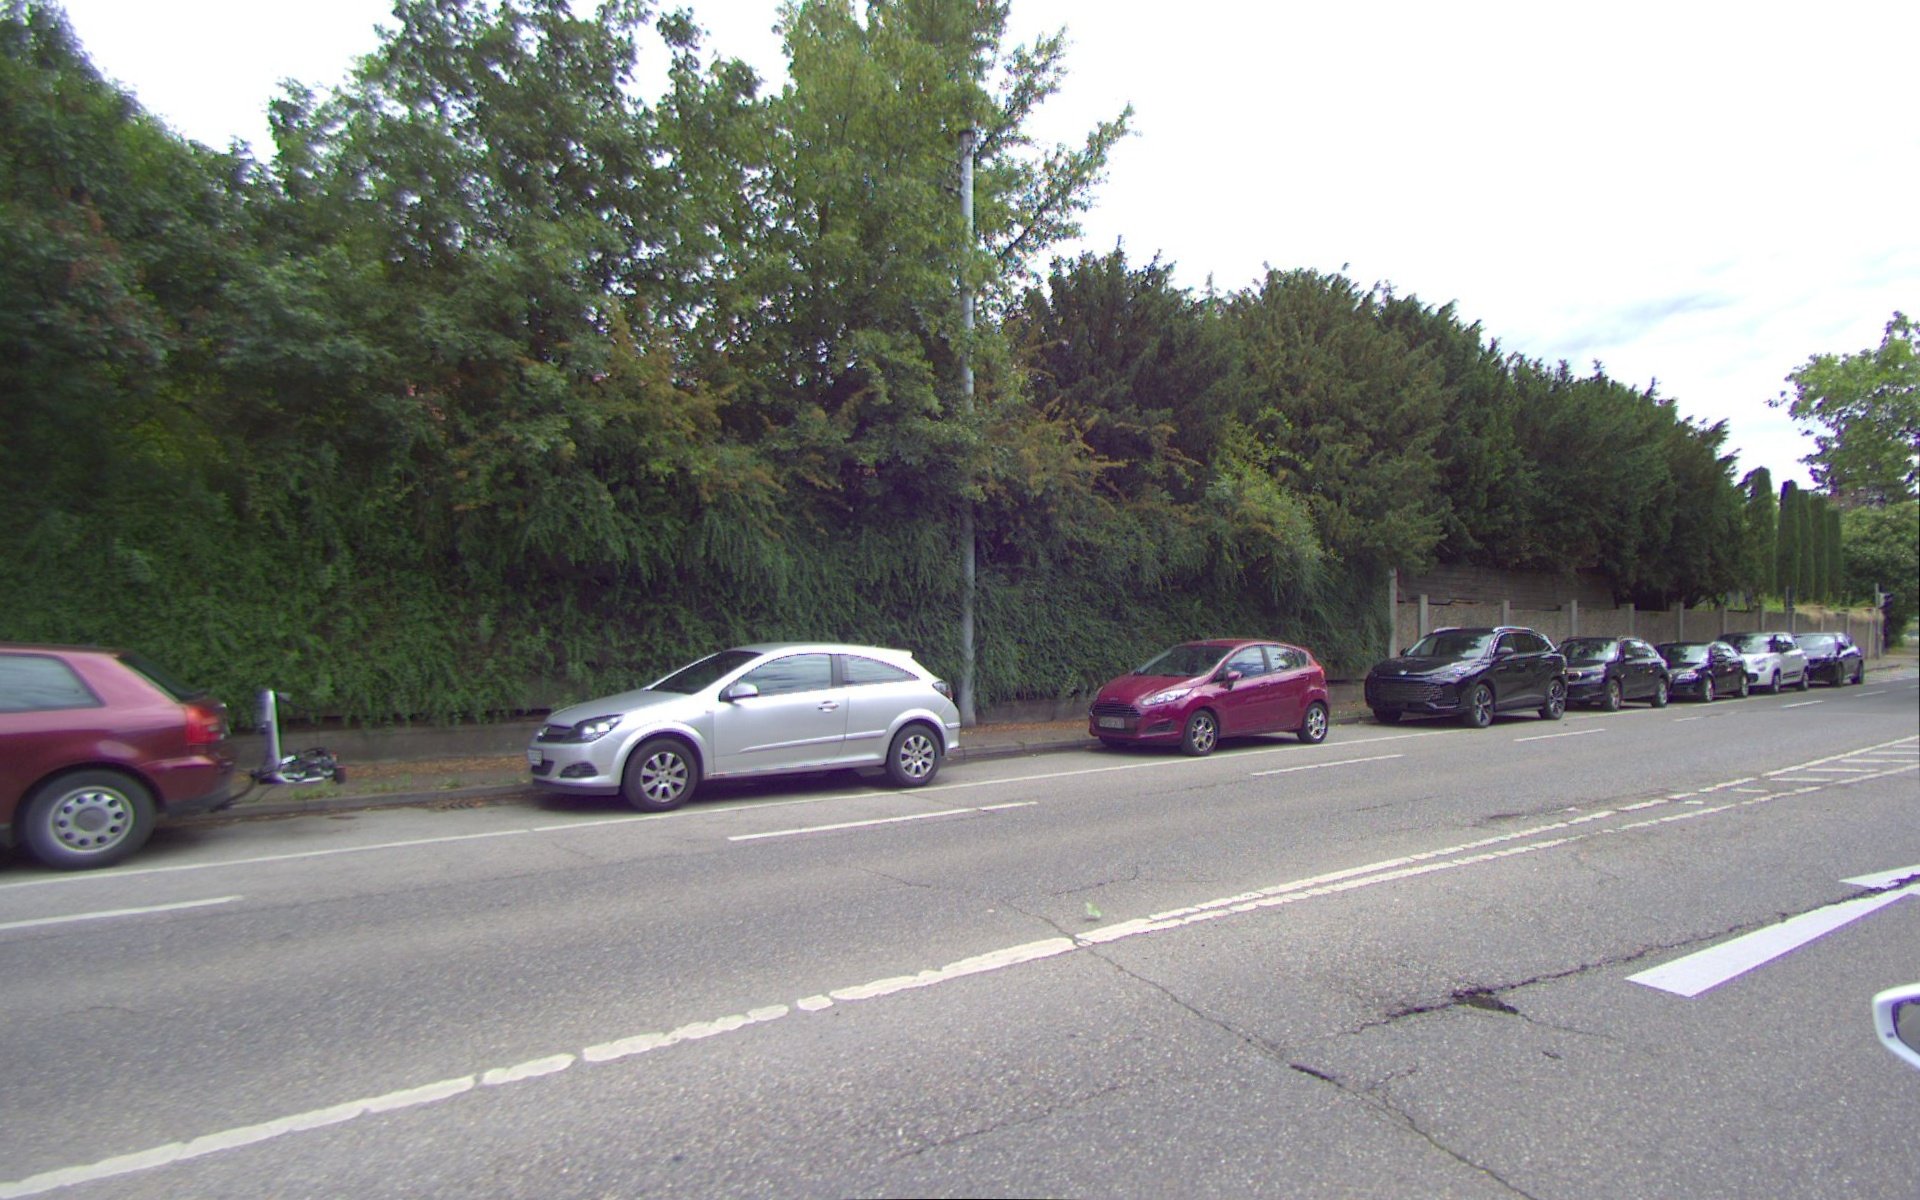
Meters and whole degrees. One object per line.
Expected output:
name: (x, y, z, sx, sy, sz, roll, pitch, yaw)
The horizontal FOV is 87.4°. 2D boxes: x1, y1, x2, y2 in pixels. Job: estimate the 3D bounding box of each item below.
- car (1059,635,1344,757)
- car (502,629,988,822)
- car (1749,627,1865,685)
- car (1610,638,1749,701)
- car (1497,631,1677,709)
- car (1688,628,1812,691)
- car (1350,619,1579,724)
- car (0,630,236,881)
car: (3.421, 1.227, 13.934, 3.964, 1.457, 1.766, 2, -3, -38)
car: (-1.952, 1.085, 9.861, 4.389, 1.508, 1.658, 2, -3, -37)
car: (26.089, 1.699, 30.899, 4.392, 1.646, 1.873, 2, -2, -38)
car: (17.768, 1.664, 24.751, 4.183, 1.419, 1.636, 2, -2, -37)
car: (13.638, 1.483, 21.800, 4.064, 1.531, 1.933, 2, -3, -36)
car: (21.913, 1.627, 27.828, 4.057, 1.613, 1.661, 2, -3, -36)
car: (9.142, 1.224, 18.072, 4.426, 1.664, 1.979, 2, -3, -38)
car: (-6.862, 0.933, 6.161, 3.875, 1.497, 1.657, 2, -3, -38)
